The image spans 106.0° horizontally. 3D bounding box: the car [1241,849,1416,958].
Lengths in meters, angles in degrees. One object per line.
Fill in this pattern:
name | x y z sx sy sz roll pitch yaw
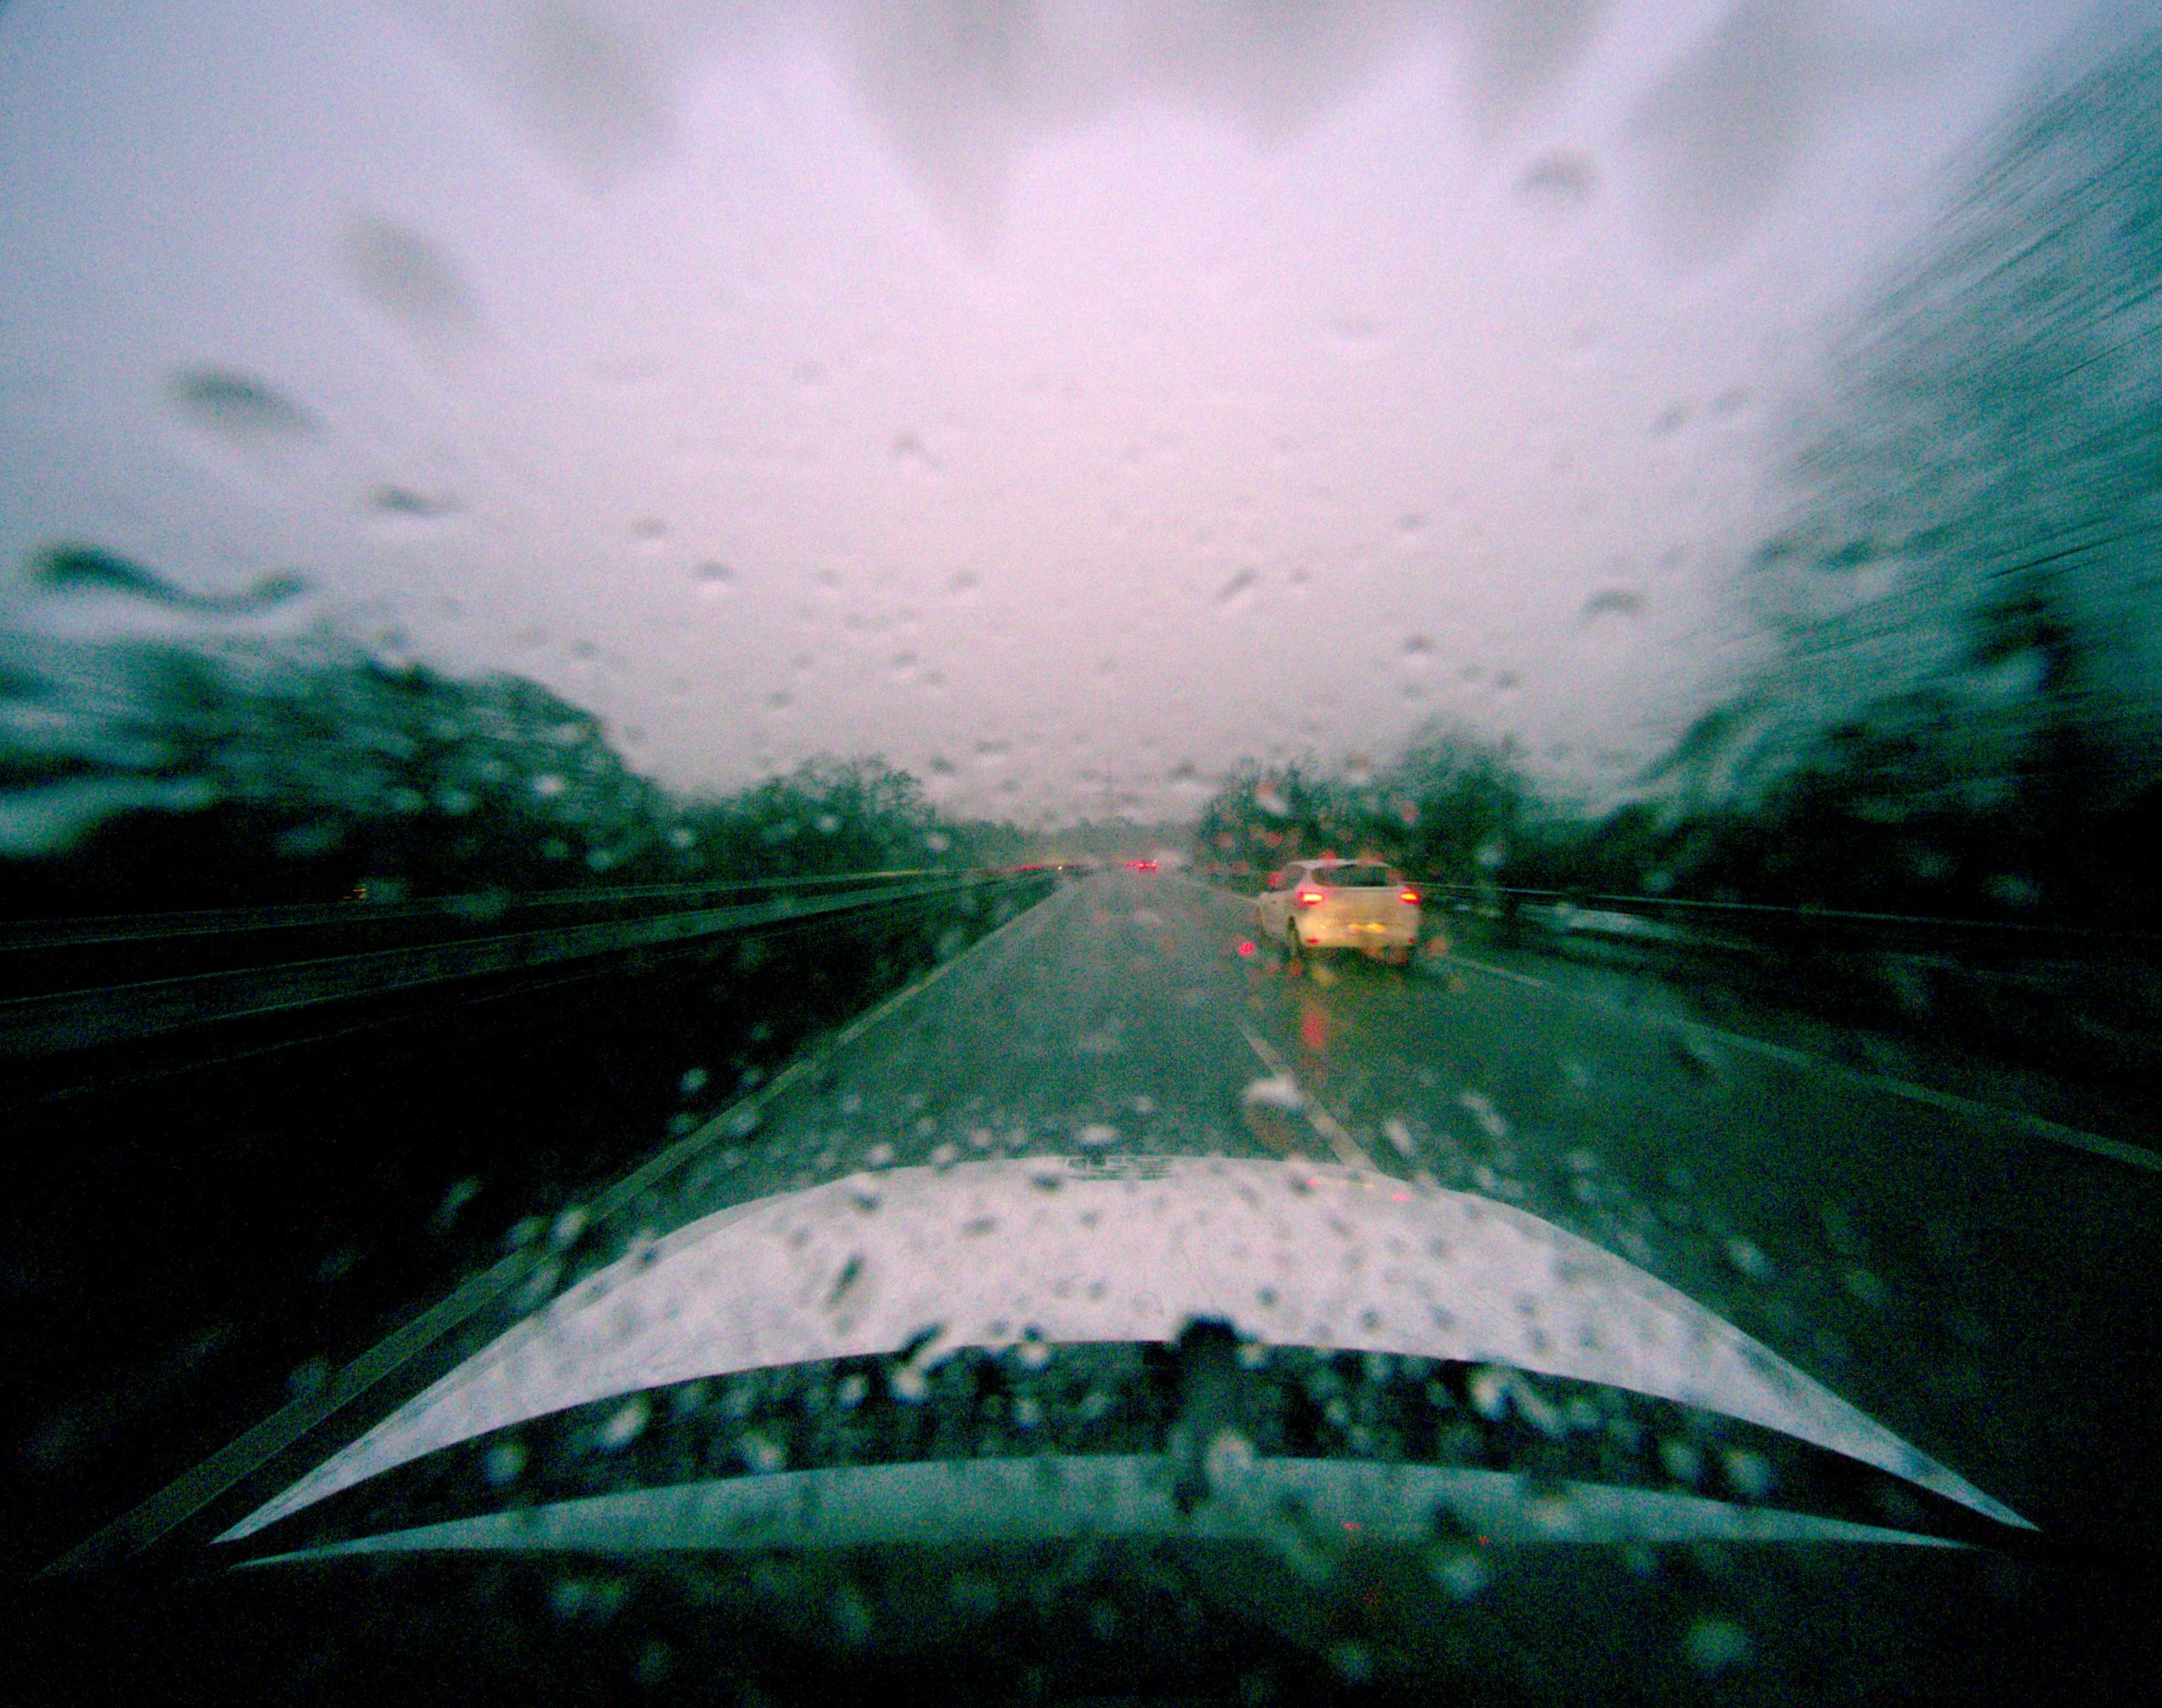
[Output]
car | 3.927 0.709 13.639 1.790 1.503 4.002 -2 0 2
